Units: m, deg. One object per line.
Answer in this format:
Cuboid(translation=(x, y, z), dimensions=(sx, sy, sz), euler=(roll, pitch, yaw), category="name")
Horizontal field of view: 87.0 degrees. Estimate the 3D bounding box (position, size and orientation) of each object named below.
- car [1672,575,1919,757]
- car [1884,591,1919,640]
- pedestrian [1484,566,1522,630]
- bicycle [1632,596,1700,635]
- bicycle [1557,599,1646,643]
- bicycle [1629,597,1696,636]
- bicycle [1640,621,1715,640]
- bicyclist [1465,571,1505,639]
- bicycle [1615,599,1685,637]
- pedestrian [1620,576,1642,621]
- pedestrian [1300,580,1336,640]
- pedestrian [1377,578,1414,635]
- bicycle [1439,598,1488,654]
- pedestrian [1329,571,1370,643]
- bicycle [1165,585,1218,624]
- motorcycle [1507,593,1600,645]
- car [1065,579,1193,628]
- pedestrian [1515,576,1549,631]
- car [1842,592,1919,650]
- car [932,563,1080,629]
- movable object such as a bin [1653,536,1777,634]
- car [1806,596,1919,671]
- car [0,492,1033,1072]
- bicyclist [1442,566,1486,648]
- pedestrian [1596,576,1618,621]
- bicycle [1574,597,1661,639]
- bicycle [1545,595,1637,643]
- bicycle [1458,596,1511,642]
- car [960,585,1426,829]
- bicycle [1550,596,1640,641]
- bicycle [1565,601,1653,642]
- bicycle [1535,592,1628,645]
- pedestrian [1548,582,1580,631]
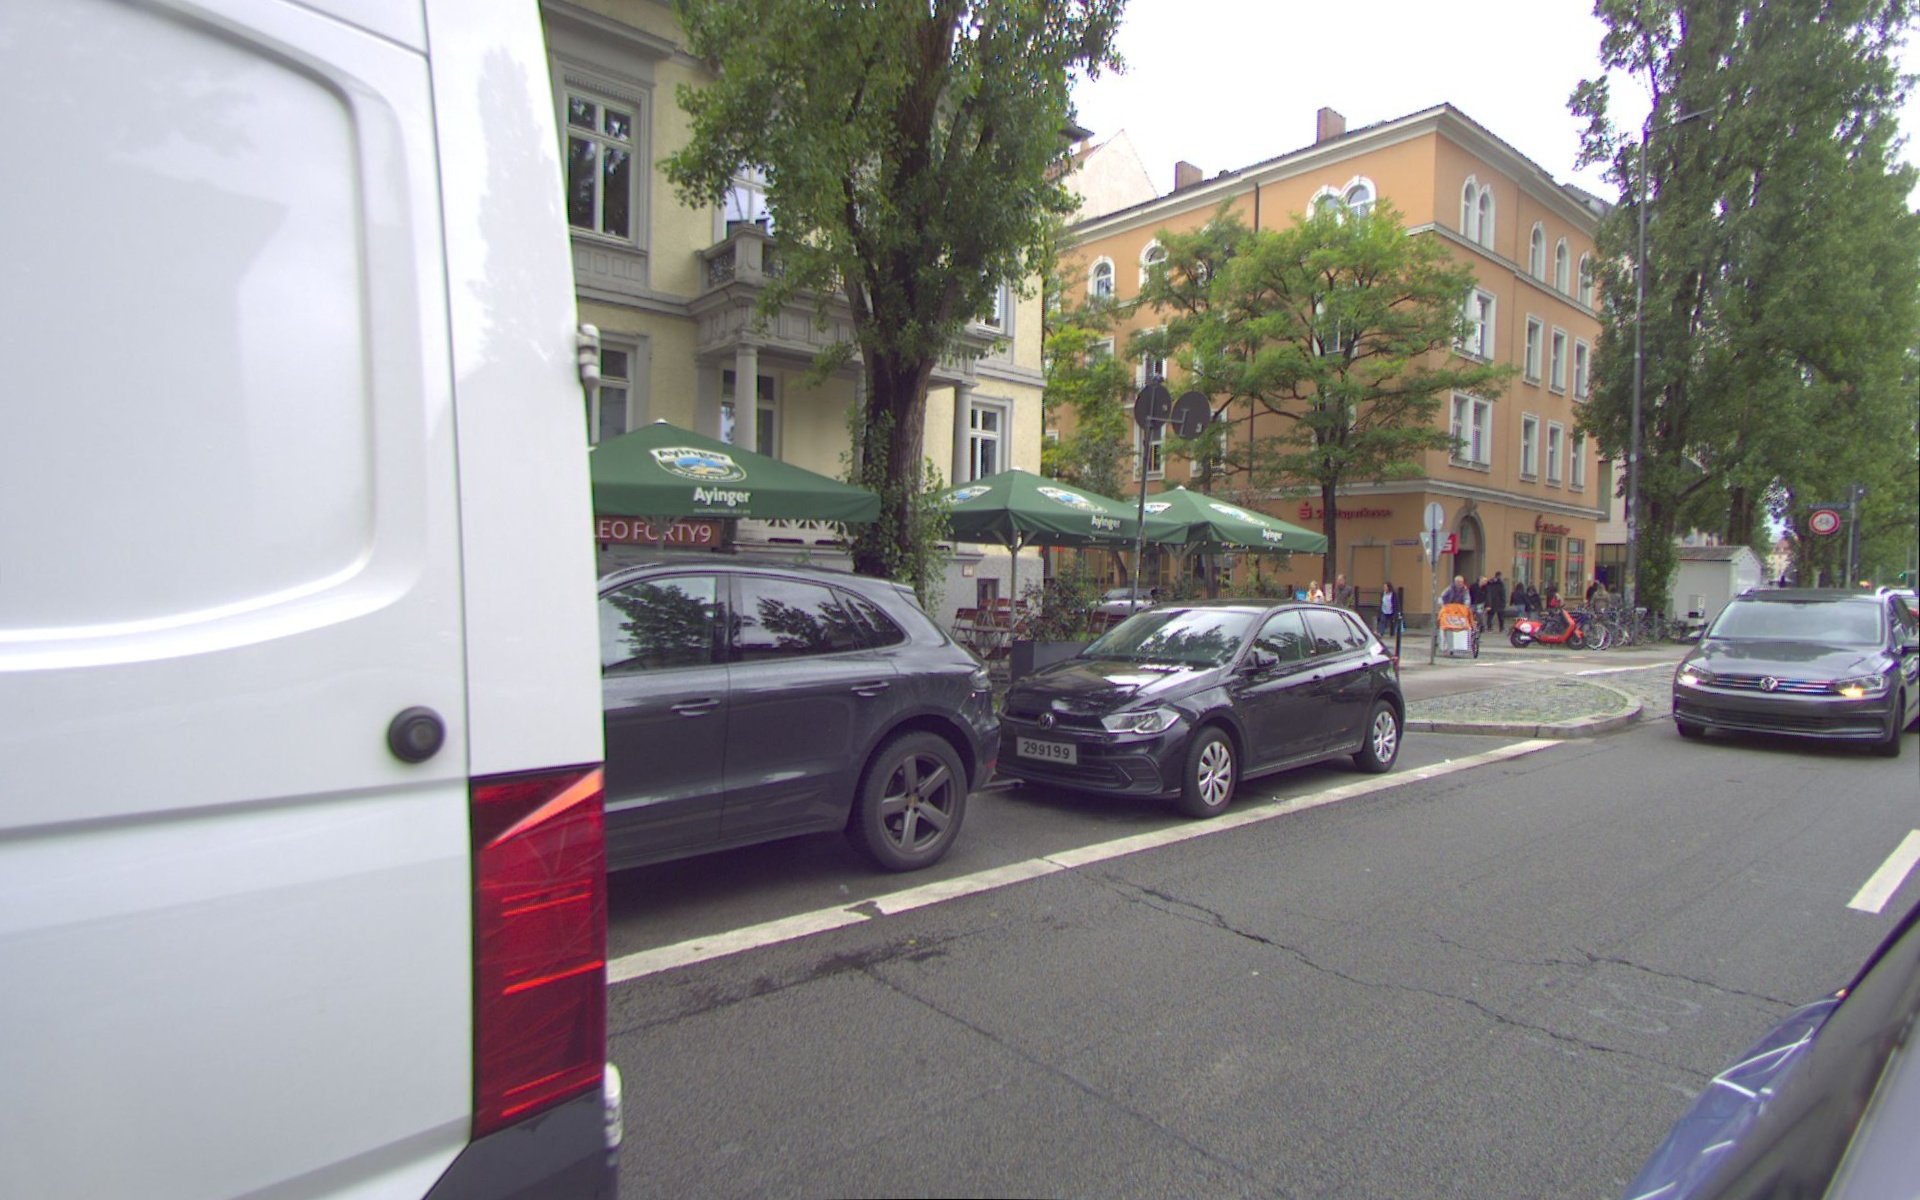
Cuboid(translation=(9.437, 0.568, 11.006), dimensions=(4.120, 1.611, 1.880), euler=(0, 1, -42), category="car")
Cuboid(translation=(33.767, 0.537, 35.341), dimensions=(4.421, 1.634, 1.787), euler=(0, 0, -42), category="car")
Cuboid(translation=(17.106, -0.072, 31.874), dimensions=(0.788, 1.973, 0.838), euler=(0, 0, -43), category="pedestrian")
Cuboid(translation=(20.814, 0.448, 29.862), dimensions=(1.588, 1.098, 0.339), euler=(2, 1, 28), category="bicycle")
Cuboid(translation=(17.332, 0.538, 27.389), dimensions=(0.551, 1.089, 1.945), euler=(0, 1, -39), category="bicycle")
Cuboid(translation=(20.954, 0.473, 30.198), dimensions=(1.593, 1.098, 0.319), euler=(2, 1, 28), category="bicycle")
Cuboid(translation=(20.566, 0.869, 29.013), dimensions=(1.671, 0.378, 0.818), euler=(4, 3, 42), category="bicycle")
Cuboid(translation=(13.578, 0.127, 26.189), dimensions=(0.738, 1.708, 0.737), euler=(2, 1, 42), category="bicyclist")
Cuboid(translation=(19.637, 0.502, 28.807), dimensions=(1.597, 1.022, 0.337), euler=(2, 1, 43), category="bicycle")
Cuboid(translation=(25.732, -0.064, 38.800), dimensions=(0.617, 1.715, 0.566), euler=(0, 0, 41), category="pedestrian")
Cuboid(translation=(9.528, 0.255, 26.942), dimensions=(0.564, 1.590, 0.699), euler=(0, 0, -38), category="pedestrian")
Cuboid(translation=(12.291, 0.179, 28.556), dimensions=(0.651, 1.590, 0.746), euler=(0, 0, -38), category="pedestrian")
Cuboid(translation=(11.056, 0.544, 22.279), dimensions=(0.878, 1.134, 2.084), euler=(2, 1, 25), category="bicycle")
Cuboid(translation=(9.885, 0.167, 25.707), dimensions=(0.718, 1.788, 0.699), euler=(0, 0, -38), category="pedestrian")
Cuboid(translation=(8.359, 0.142, 36.631), dimensions=(0.551, 1.389, 1.945), euler=(1, 0, -39), category="bicycle")
Cuboid(translation=(14.984, 0.472, 25.600), dimensions=(1.939, 1.236, 0.510), euler=(2, 1, 25), category="motorcycle")
Cuboid(translation=(5.639, 0.104, 34.064), dimensions=(1.873, 1.539, 3.993), euler=(0, 0, -41), category="car")
Cuboid(translation=(17.757, 0.101, 31.404), dimensions=(0.759, 1.682, 0.744), euler=(0, 0, -45), category="pedestrian")
Cuboid(translation=(27.472, 0.575, 29.762), dimensions=(4.421, 1.572, 1.787), euler=(0, 1, -42), category="car")
Cuboid(translation=(1.226, -0.119, 28.977), dimensions=(1.934, 1.723, 4.429), euler=(0, 0, -36), category="car")
Cuboid(translation=(26.485, -0.552, 35.460), dimensions=(4.463, 3.175, 2.445), euler=(0, 3, -41), category="movable object such as a bin")
Cuboid(translation=(19.809, 0.655, 21.072), dimensions=(3.919, 1.451, 1.621), euler=(0, 0, -20), category="car")
Cuboid(translation=(-1.795, 0.503, 4.991), dimensions=(4.371, 1.658, 1.805), euler=(0, 1, -42), category="car")
Cuboid(translation=(11.201, 0.140, 22.521), dimensions=(0.822, 1.779, 0.662), euler=(1, 1, 25), category="bicyclist")
Cuboid(translation=(24.913, -0.079, 38.977), dimensions=(0.632, 1.715, 0.566), euler=(0, 0, 43), category="pedestrian")
Cuboid(translation=(18.338, 0.486, 28.258), dimensions=(0.551, 1.098, 1.945), euler=(0, 1, -39), category="bicycle")
Cuboid(translation=(16.412, 0.477, 26.358), dimensions=(0.551, 1.151, 1.945), euler=(0, 1, -39), category="bicycle")
Cuboid(translation=(13.610, 0.472, 26.235), dimensions=(0.735, 1.134, 2.071), euler=(2, 1, 41), category="bicycle")
Cuboid(translation=(1.999, 0.628, 7.997), dimensions=(3.884, 1.434, 1.696), euler=(0, 1, -43), category="car")
Cuboid(translation=(16.827, 0.479, 26.856), dimensions=(0.551, 1.102, 1.945), euler=(0, 1, -39), category="bicycle")
Cuboid(translation=(17.778, 0.572, 27.772), dimensions=(0.551, 1.022, 1.945), euler=(0, 1, -39), category="bicycle")
Cuboid(translation=(15.916, 0.457, 25.966), dimensions=(0.551, 1.255, 1.945), euler=(0, 1, -39), category="bicycle")
Cuboid(translation=(19.794, 0.198, 33.171), dimensions=(0.603, 1.590, 0.746), euler=(0, 0, -38), category="pedestrian")
